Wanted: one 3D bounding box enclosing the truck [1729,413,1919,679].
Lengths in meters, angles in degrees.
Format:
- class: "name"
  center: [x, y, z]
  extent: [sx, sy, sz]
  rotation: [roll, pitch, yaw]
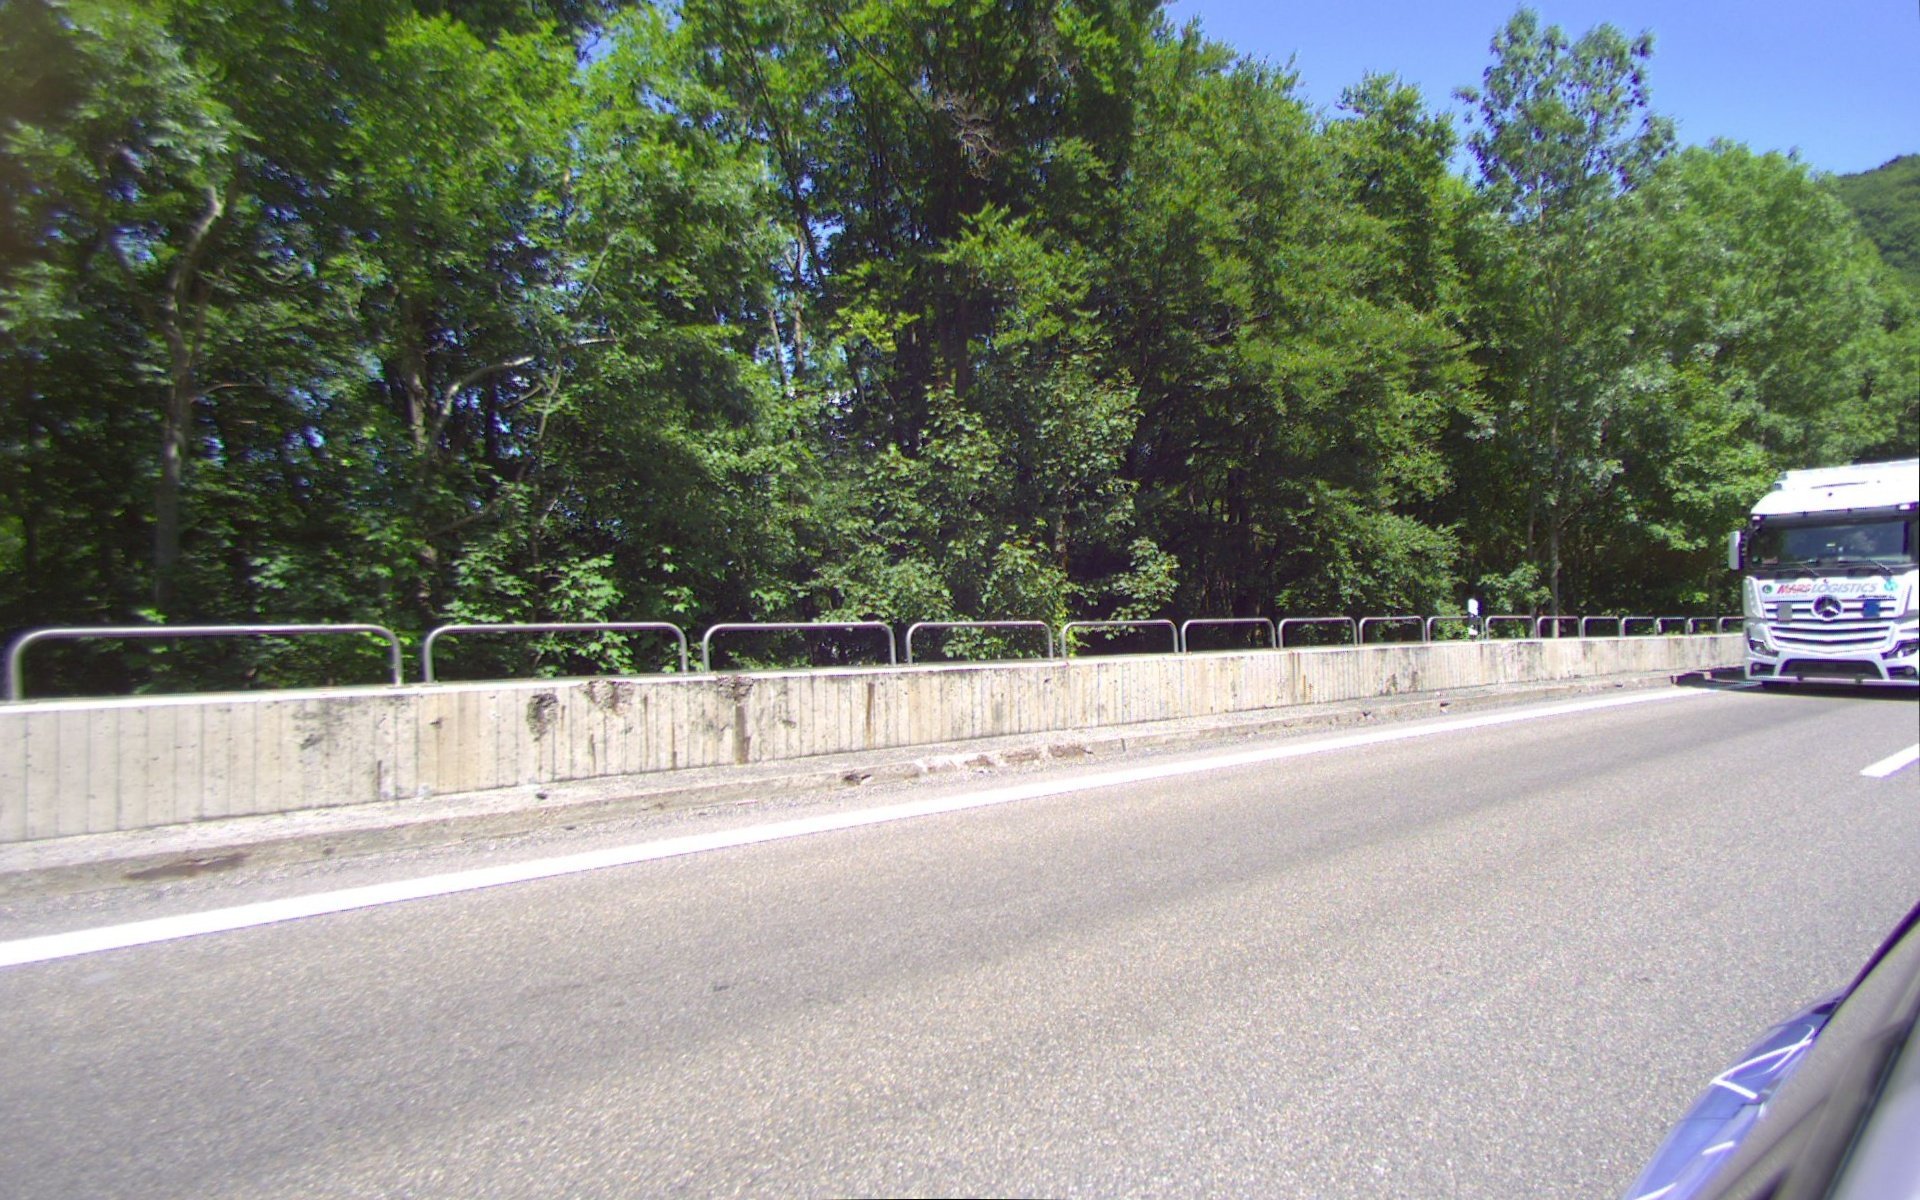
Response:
- class: "truck"
  center: [21.071, -0.729, 21.622]
  extent: [16.397, 4.187, 2.968]
  rotation: [1, -4, -37]
